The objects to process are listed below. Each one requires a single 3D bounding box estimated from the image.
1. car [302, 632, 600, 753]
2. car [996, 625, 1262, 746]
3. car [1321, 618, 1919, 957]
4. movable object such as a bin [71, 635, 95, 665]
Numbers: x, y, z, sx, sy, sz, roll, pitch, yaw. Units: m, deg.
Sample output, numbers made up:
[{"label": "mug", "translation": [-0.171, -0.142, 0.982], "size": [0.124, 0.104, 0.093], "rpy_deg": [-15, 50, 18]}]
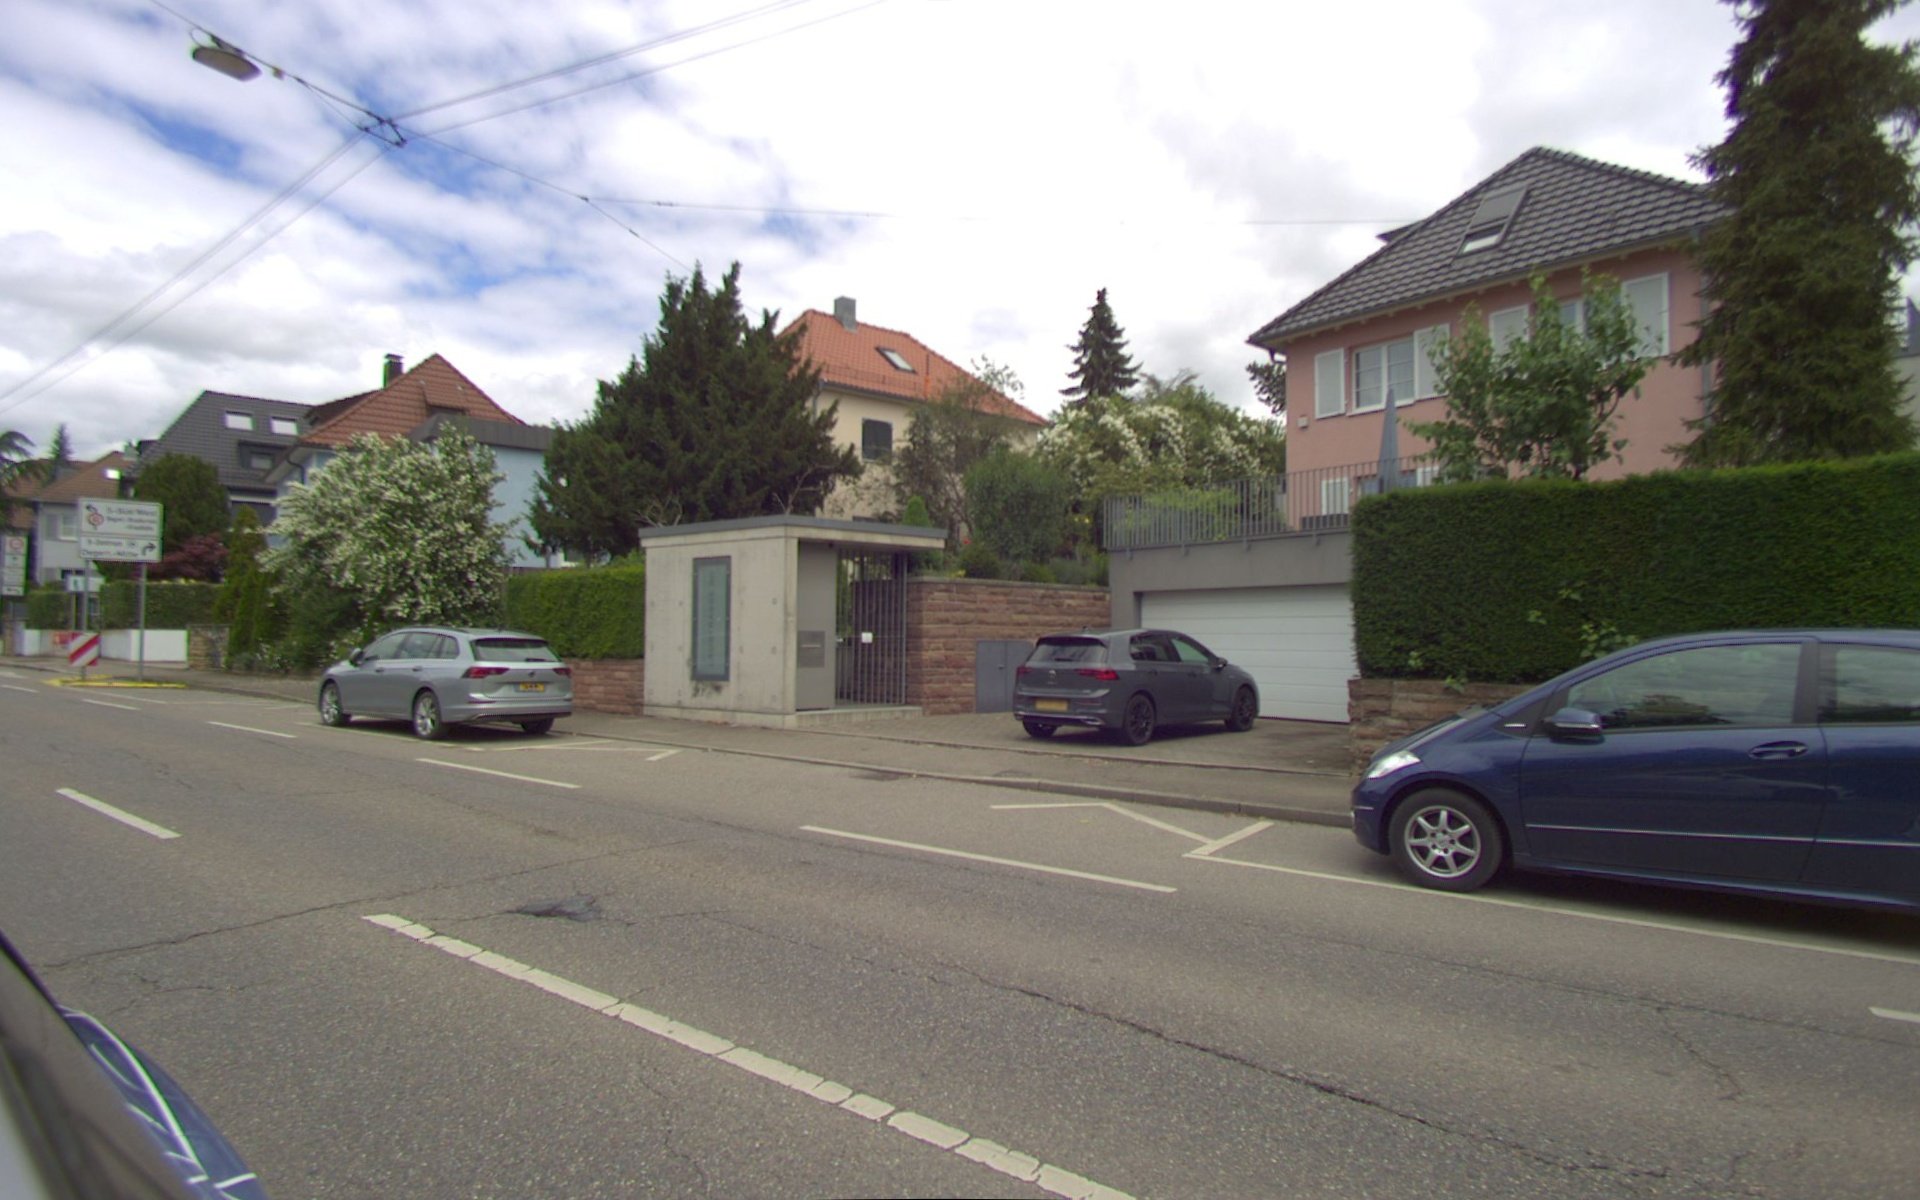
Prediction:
[{"label": "car", "translation": [-7.242, 1.238, 14.276], "size": [4.402, 1.466, 1.794], "rpy_deg": [-1, -5, 34]}, {"label": "car", "translation": [2.349, 1.059, 13.607], "size": [1.850, 1.401, 3.547], "rpy_deg": [-2, -3, 44]}, {"label": "car", "translation": [4.334, 0.923, 5.827], "size": [3.963, 1.568, 1.664], "rpy_deg": [-1, -4, 35]}, {"label": "movable object such as a bin", "translation": [-29.645, 1.689, 34.221], "size": [0.539, 0.981, 0.502], "rpy_deg": [-1, -3, 38]}]
